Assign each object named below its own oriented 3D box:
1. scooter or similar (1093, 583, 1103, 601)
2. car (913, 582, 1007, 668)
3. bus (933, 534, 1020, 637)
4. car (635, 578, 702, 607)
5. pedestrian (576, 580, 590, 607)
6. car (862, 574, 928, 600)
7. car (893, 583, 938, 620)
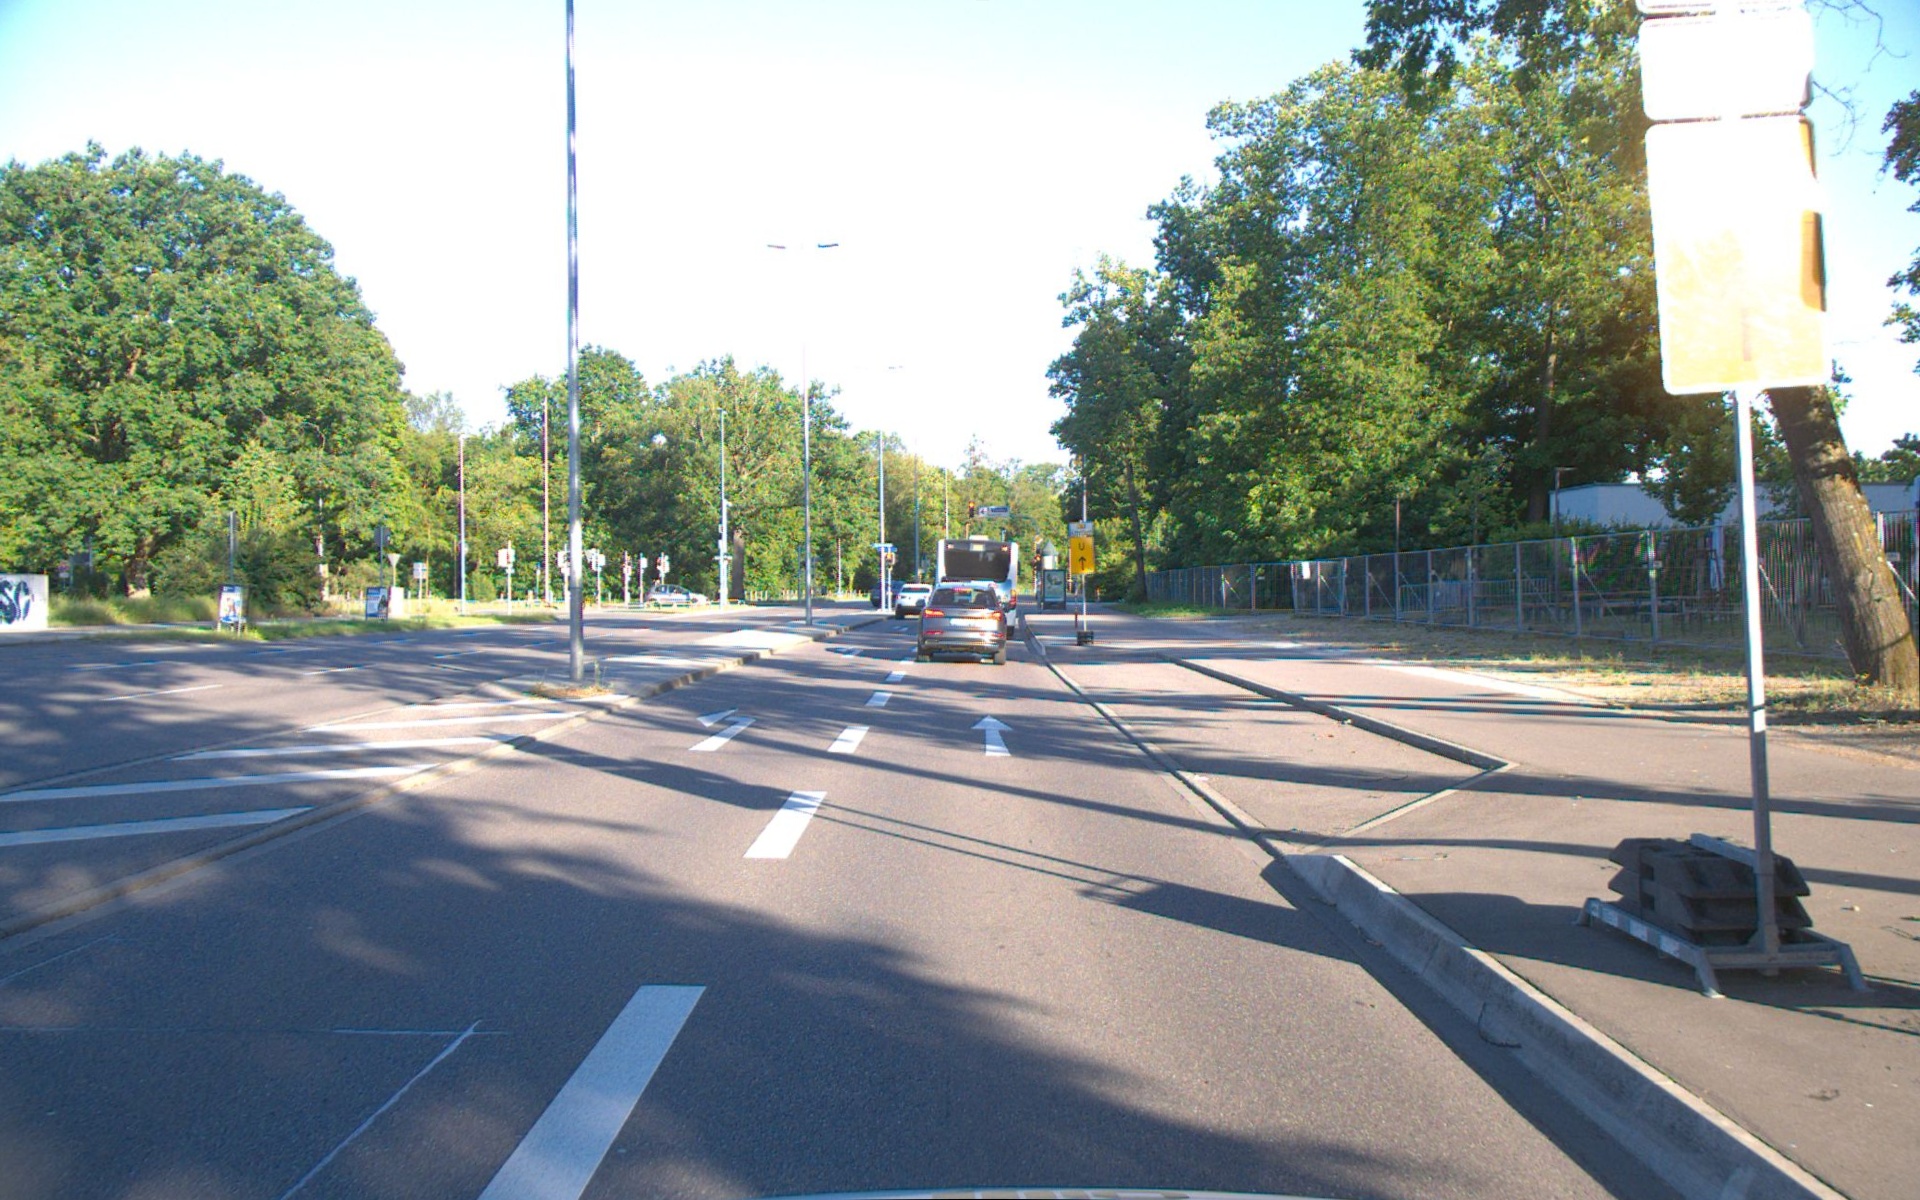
[{"bbox_3d":[11.114,-0.641,133.368,0.498,1.469,2.021,-1,1,-3],"label":"scooter or similar"},{"bbox_3d":[0.053,0.478,35.263,1.859,1.660,4.001,1,1,2],"label":"car"},{"bbox_3d":[0.619,-0.456,54.189,2.541,3.041,9.329,1,0,2],"label":"bus"},{"bbox_3d":[-17.750,-0.456,100.887,3.913,1.668,2.061,-1,0,-9],"label":"car"},{"bbox_3d":[-21.842,-0.383,95.824,0.643,1.587,0.531,-1,1,-41],"label":"pedestrian"},{"bbox_3d":[-4.247,-0.859,108.942,2.065,1.612,4.211,-1,1,39],"label":"car"},{"bbox_3d":[-1.943,0.045,73.083,1.798,1.545,4.001,0,1,2],"label":"car"}]
